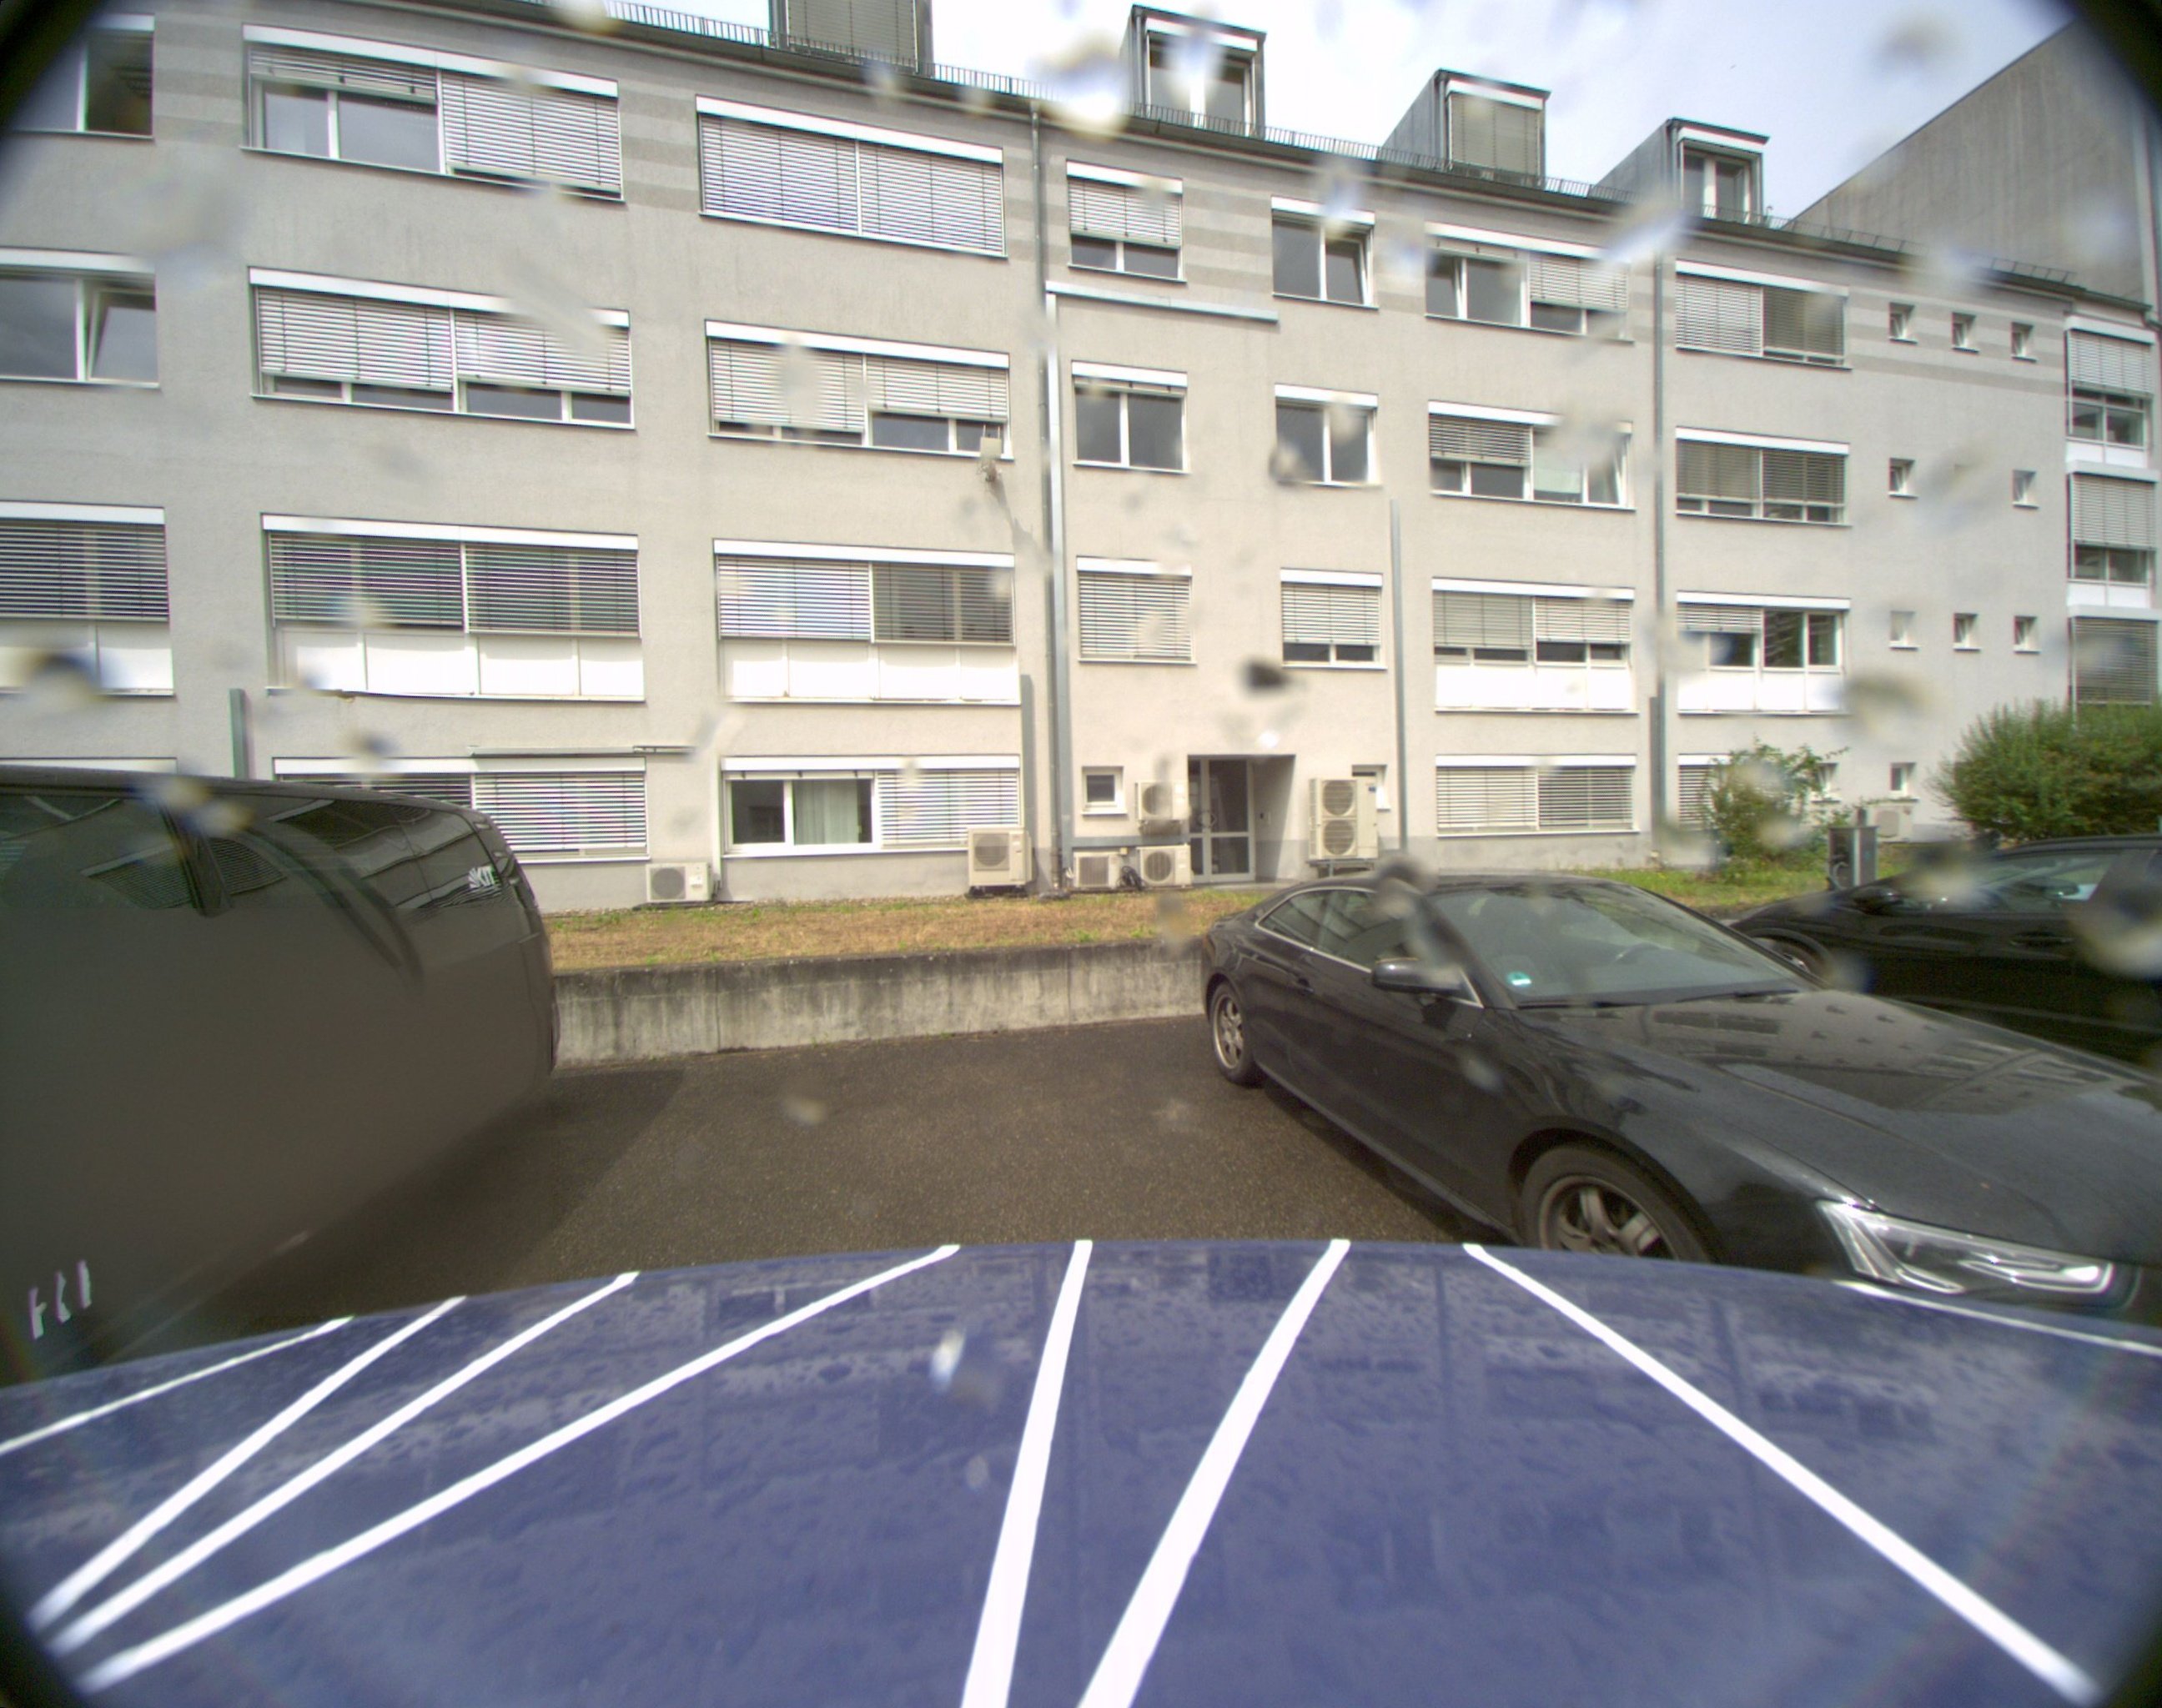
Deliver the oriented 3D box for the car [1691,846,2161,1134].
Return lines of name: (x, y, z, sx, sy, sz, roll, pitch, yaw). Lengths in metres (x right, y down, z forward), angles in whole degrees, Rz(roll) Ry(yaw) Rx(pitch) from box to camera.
car: (6.503, 0.726, 4.536, 1.763, 1.434, 4.310, -3, 2, -13)

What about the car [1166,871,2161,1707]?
car: (1.953, 0.892, 3.503, 1.763, 1.344, 4.523, -2, 2, -12)

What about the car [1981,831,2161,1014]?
car: (9.794, 0.576, 5.371, 1.696, 1.434, 4.120, -2, 2, -11)

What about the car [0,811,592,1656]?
car: (-3.543, 0.850, 2.222, 1.971, 1.854, 4.741, -2, 2, -13)
